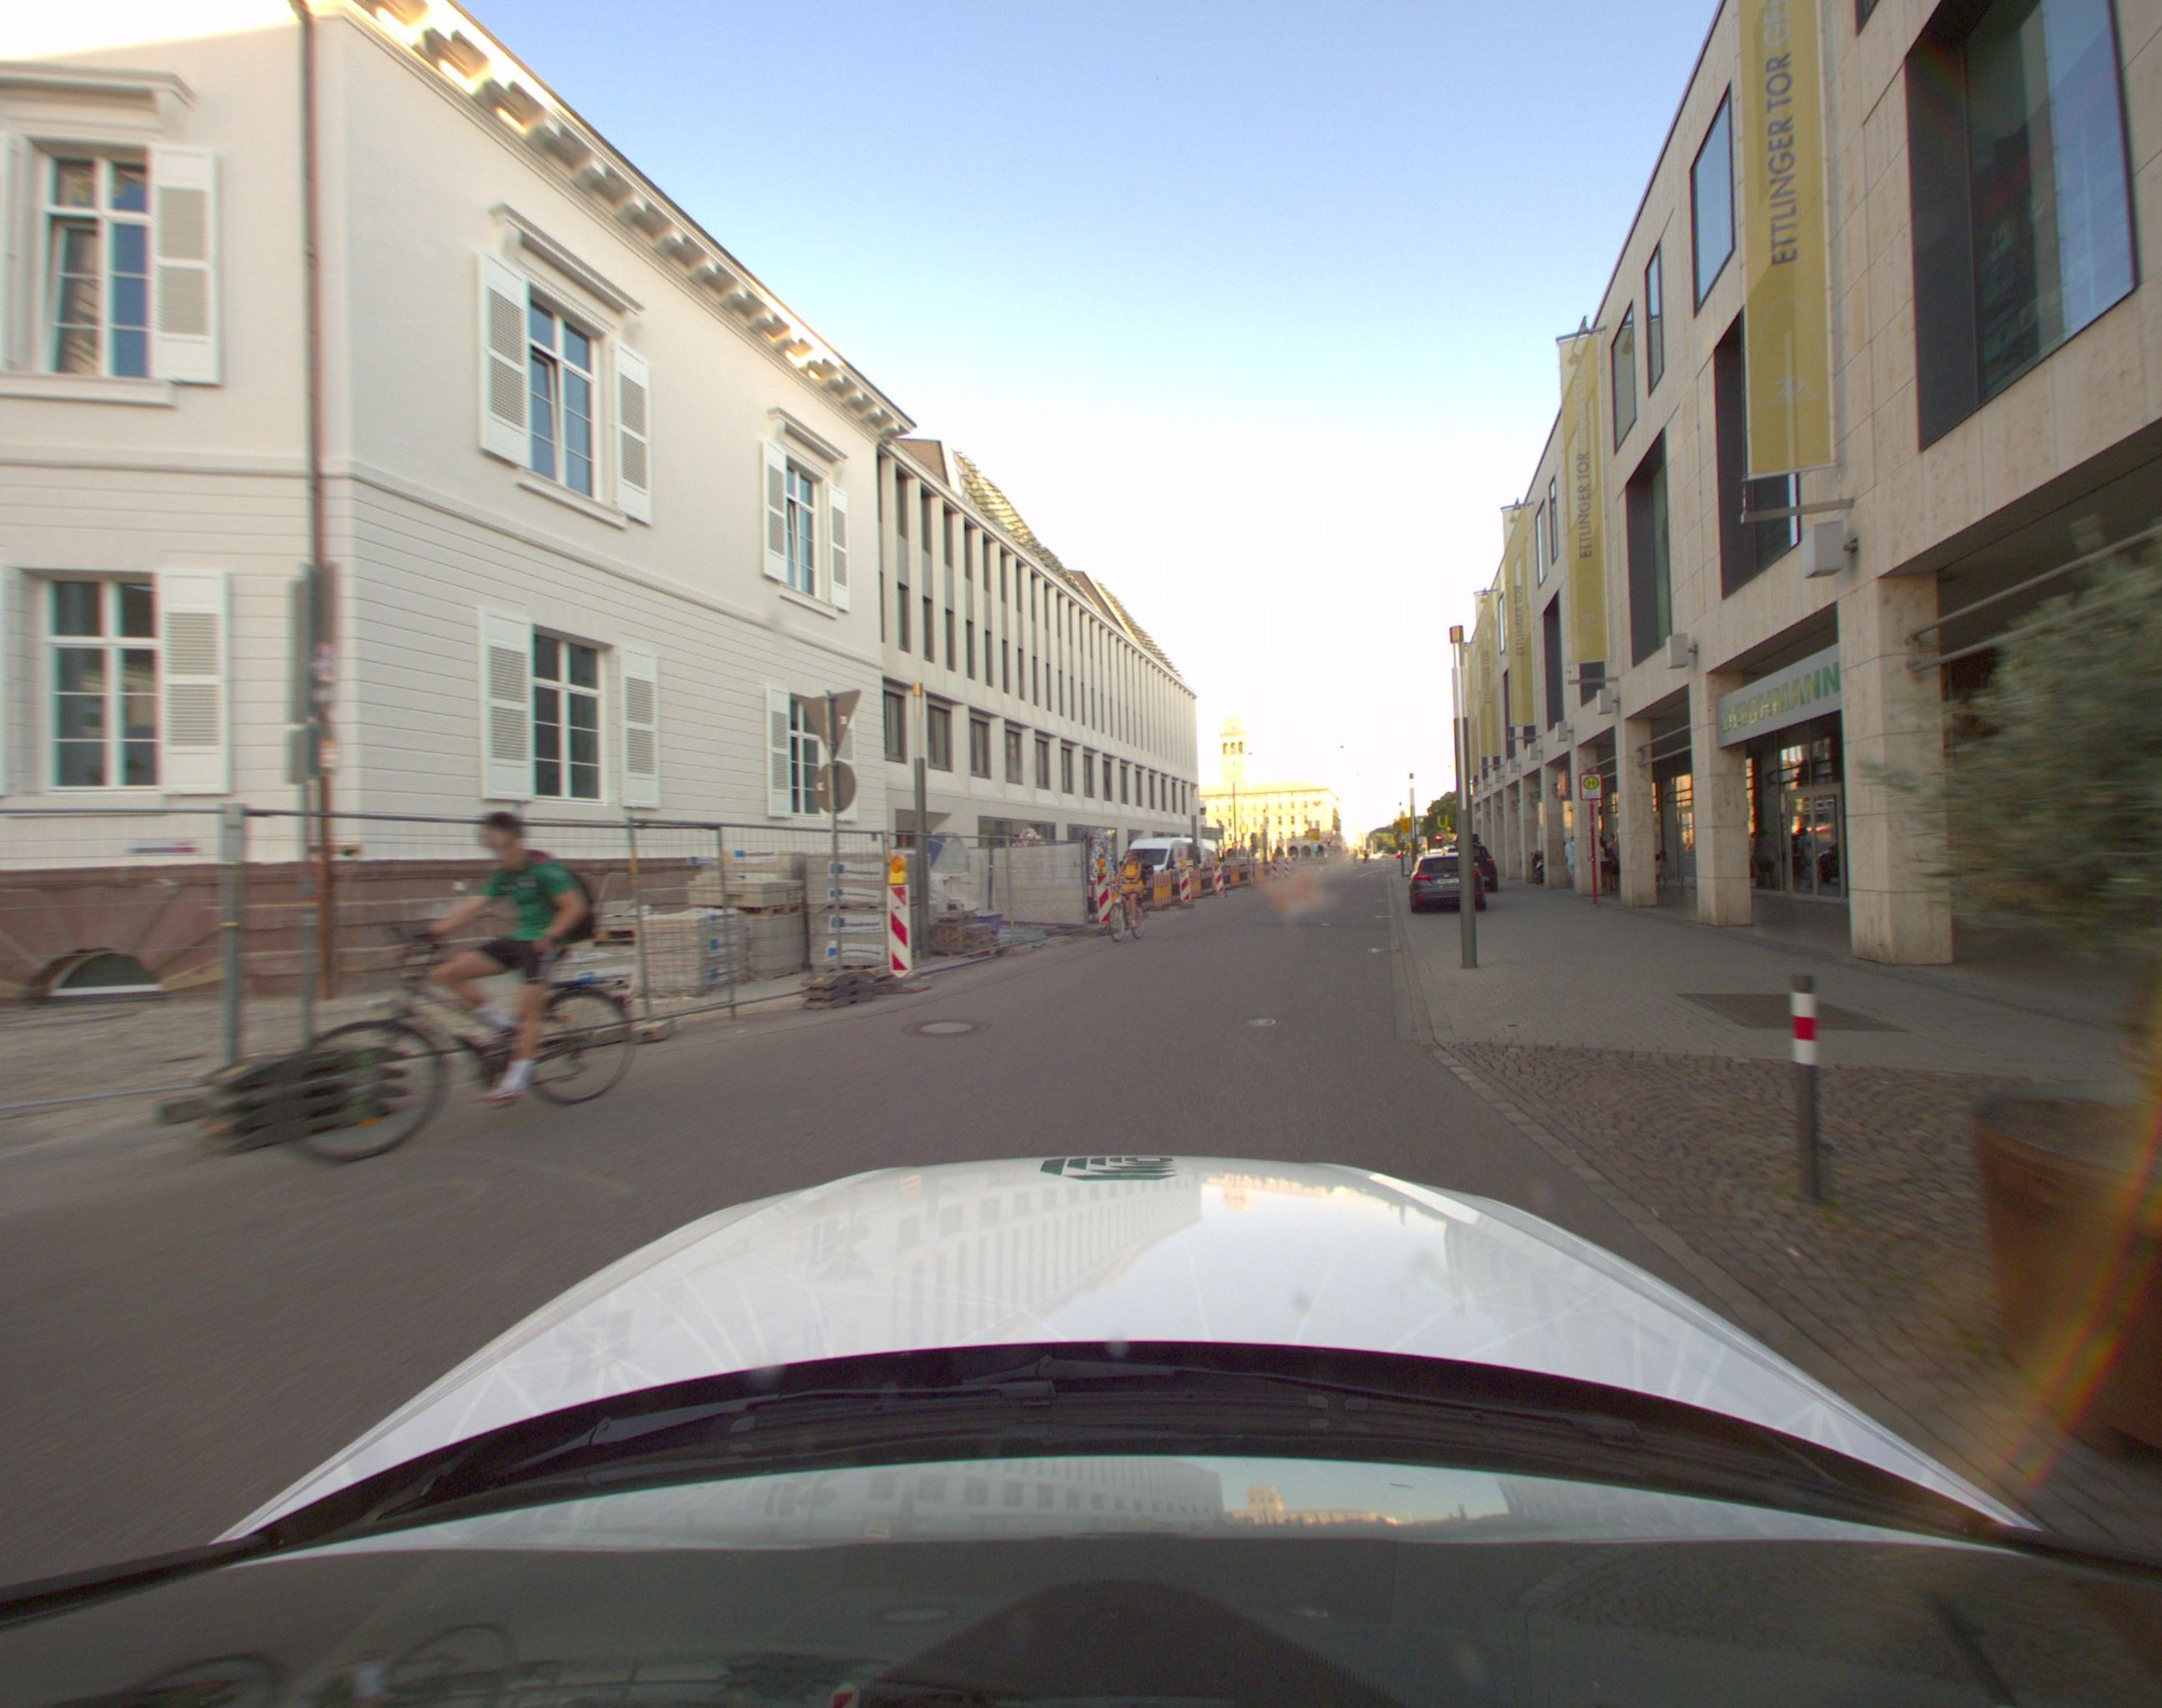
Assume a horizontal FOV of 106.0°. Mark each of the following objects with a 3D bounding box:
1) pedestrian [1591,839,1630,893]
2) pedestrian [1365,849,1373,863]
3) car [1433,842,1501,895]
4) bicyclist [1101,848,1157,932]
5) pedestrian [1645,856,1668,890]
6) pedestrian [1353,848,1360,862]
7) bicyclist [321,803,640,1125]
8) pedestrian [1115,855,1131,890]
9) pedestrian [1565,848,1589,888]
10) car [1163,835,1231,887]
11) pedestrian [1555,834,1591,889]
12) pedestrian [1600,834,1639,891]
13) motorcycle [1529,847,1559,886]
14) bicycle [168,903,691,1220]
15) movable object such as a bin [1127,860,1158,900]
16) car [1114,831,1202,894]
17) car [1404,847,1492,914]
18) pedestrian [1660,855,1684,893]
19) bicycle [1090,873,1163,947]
[{"bbox_3d":[15.850,0.341,24.407,0.758,1.567,0.881,-2,1,20],"label":"pedestrian"},{"bbox_3d":[37.153,0.258,104.991,0.732,1.777,0.868,-5,-1,21],"label":"pedestrian"},{"bbox_3d":[13.738,0.495,29.156,1.753,1.638,4.078,-5,-2,21],"label":"car"},{"bbox_3d":[0.909,0.657,15.334,0.790,1.532,0.978,-2,0,18],"label":"bicyclist"},{"bbox_3d":[17.025,0.553,24.114,0.416,0.986,0.528,-2,1,20],"label":"pedestrian"},{"bbox_3d":[36.463,0.168,107.771,0.731,1.777,0.868,-5,-1,24],"label":"pedestrian"},{"bbox_3d":[-3.422,0.553,4.759,0.790,1.603,1.237,-2,0,19],"label":"bicyclist"},{"bbox_3d":[1.919,0.841,37.178,0.538,1.577,0.582,-2,-1,18],"label":"pedestrian"},{"bbox_3d":[19.962,0.550,32.794,0.628,1.567,0.779,-2,1,20],"label":"pedestrian"},{"bbox_3d":[6.108,0.314,42.116,2.155,2.470,6.030,-1,0,20],"label":"car"},{"bbox_3d":[15.368,0.226,25.439,0.758,1.681,0.881,-2,1,20],"label":"pedestrian"},{"bbox_3d":[16.436,0.252,24.864,0.758,1.681,0.881,-2,1,20],"label":"pedestrian"},{"bbox_3d":[17.379,0.460,30.616,0.686,1.416,2.147,-2,0,23],"label":"motorcycle"},{"bbox_3d":[-3.440,0.963,4.675,0.790,1.217,2.244,-2,0,19],"label":"bicycle"},{"bbox_3d":[2.376,0.966,31.100,1.037,1.466,1.397,-1,0,9],"label":"movable object such as a bin"},{"bbox_3d":[3.456,0.346,35.109,2.155,2.470,6.030,-1,0,21],"label":"car"},{"bbox_3d":[9.654,0.645,21.674,1.780,1.490,4.214,-5,-2,21],"label":"car"},{"bbox_3d":[17.517,0.578,24.147,0.416,1.097,0.528,-2,1,20],"label":"pedestrian"},{"bbox_3d":[0.893,1.008,15.311,0.790,1.217,2.243,-2,0,18],"label":"bicycle"}]
